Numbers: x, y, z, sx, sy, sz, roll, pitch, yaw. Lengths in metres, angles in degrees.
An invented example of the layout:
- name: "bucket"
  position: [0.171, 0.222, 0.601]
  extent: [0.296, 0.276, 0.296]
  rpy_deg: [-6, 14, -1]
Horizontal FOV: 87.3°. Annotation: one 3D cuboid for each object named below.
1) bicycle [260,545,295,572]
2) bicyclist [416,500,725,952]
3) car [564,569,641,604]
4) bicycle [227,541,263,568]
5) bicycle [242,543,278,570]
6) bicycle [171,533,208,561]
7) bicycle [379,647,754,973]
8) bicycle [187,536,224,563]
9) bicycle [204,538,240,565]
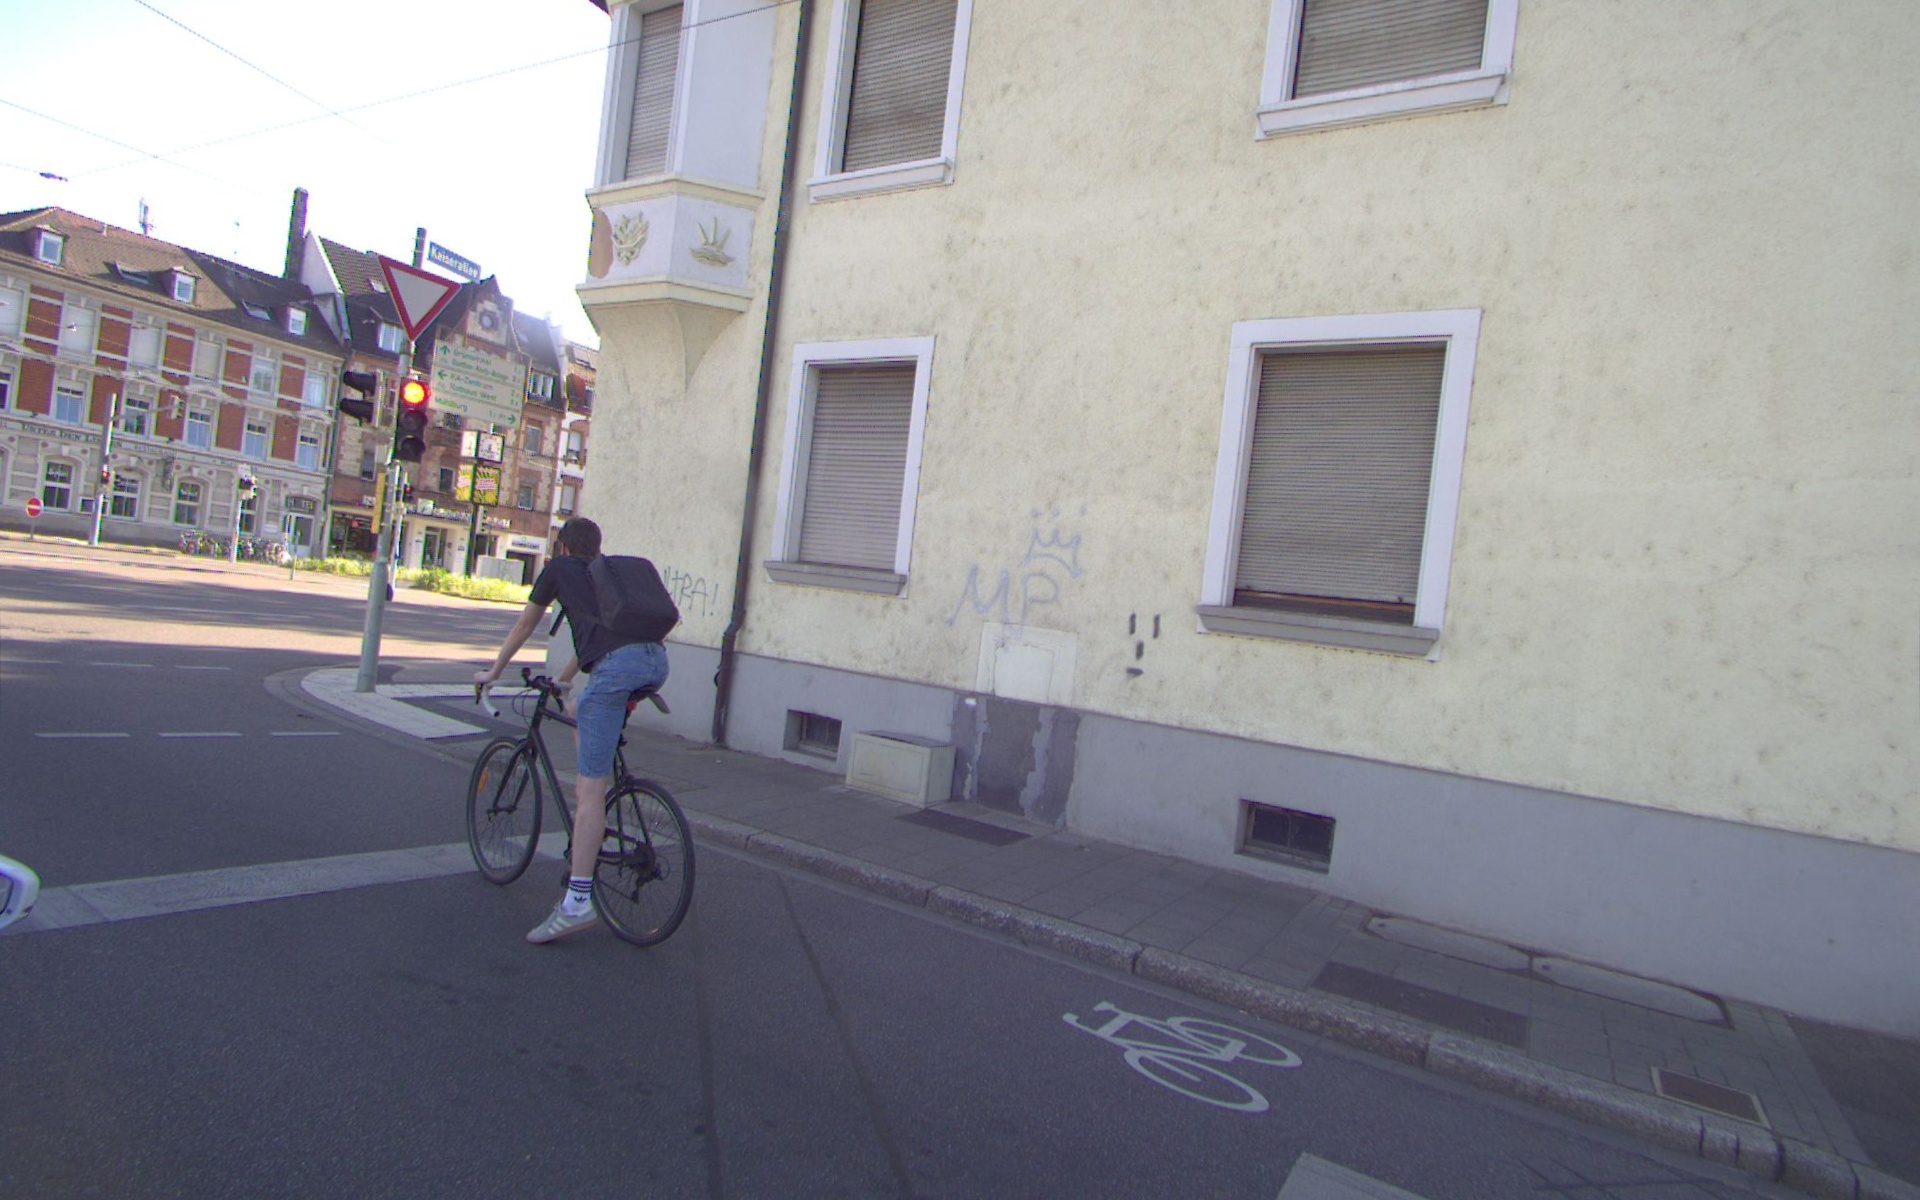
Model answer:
- name: "bicycle"
  position: [-32.984, -2.010, 48.585]
  extent: [1.614, 1.064, 0.606]
  rpy_deg: [7, 0, 27]
- name: "bicyclist"
  position: [-1.742, 0.494, 4.487]
  extent: [1.066, 1.751, 0.561]
  rpy_deg: [6, -1, 32]
- name: "car"
  position: [-23.127, -0.858, 65.306]
  extent: [1.966, 1.674, 4.378]
  rpy_deg: [7, -1, 29]
- name: "bicycle"
  position: [-33.653, -2.148, 47.337]
  extent: [1.614, 1.064, 0.606]
  rpy_deg: [7, 0, 27]
- name: "bicycle"
  position: [-33.358, -2.085, 47.948]
  extent: [1.614, 1.064, 0.606]
  rpy_deg: [7, 0, 27]
- name: "bicycle"
  position: [-34.949, -2.388, 45.609]
  extent: [1.614, 1.064, 0.606]
  rpy_deg: [7, 0, 27]
- name: "bicycle"
  position: [-1.799, 0.837, 4.491]
  extent: [1.729, 1.029, 0.532]
  rpy_deg: [7, 0, 32]
- name: "bicycle"
  position: [-34.649, -2.326, 46.191]
  extent: [1.614, 1.064, 0.606]
  rpy_deg: [7, 0, 27]
- name: "bicycle"
  position: [-34.319, -2.259, 46.767]
  extent: [1.614, 1.064, 0.606]
  rpy_deg: [7, 0, 27]
